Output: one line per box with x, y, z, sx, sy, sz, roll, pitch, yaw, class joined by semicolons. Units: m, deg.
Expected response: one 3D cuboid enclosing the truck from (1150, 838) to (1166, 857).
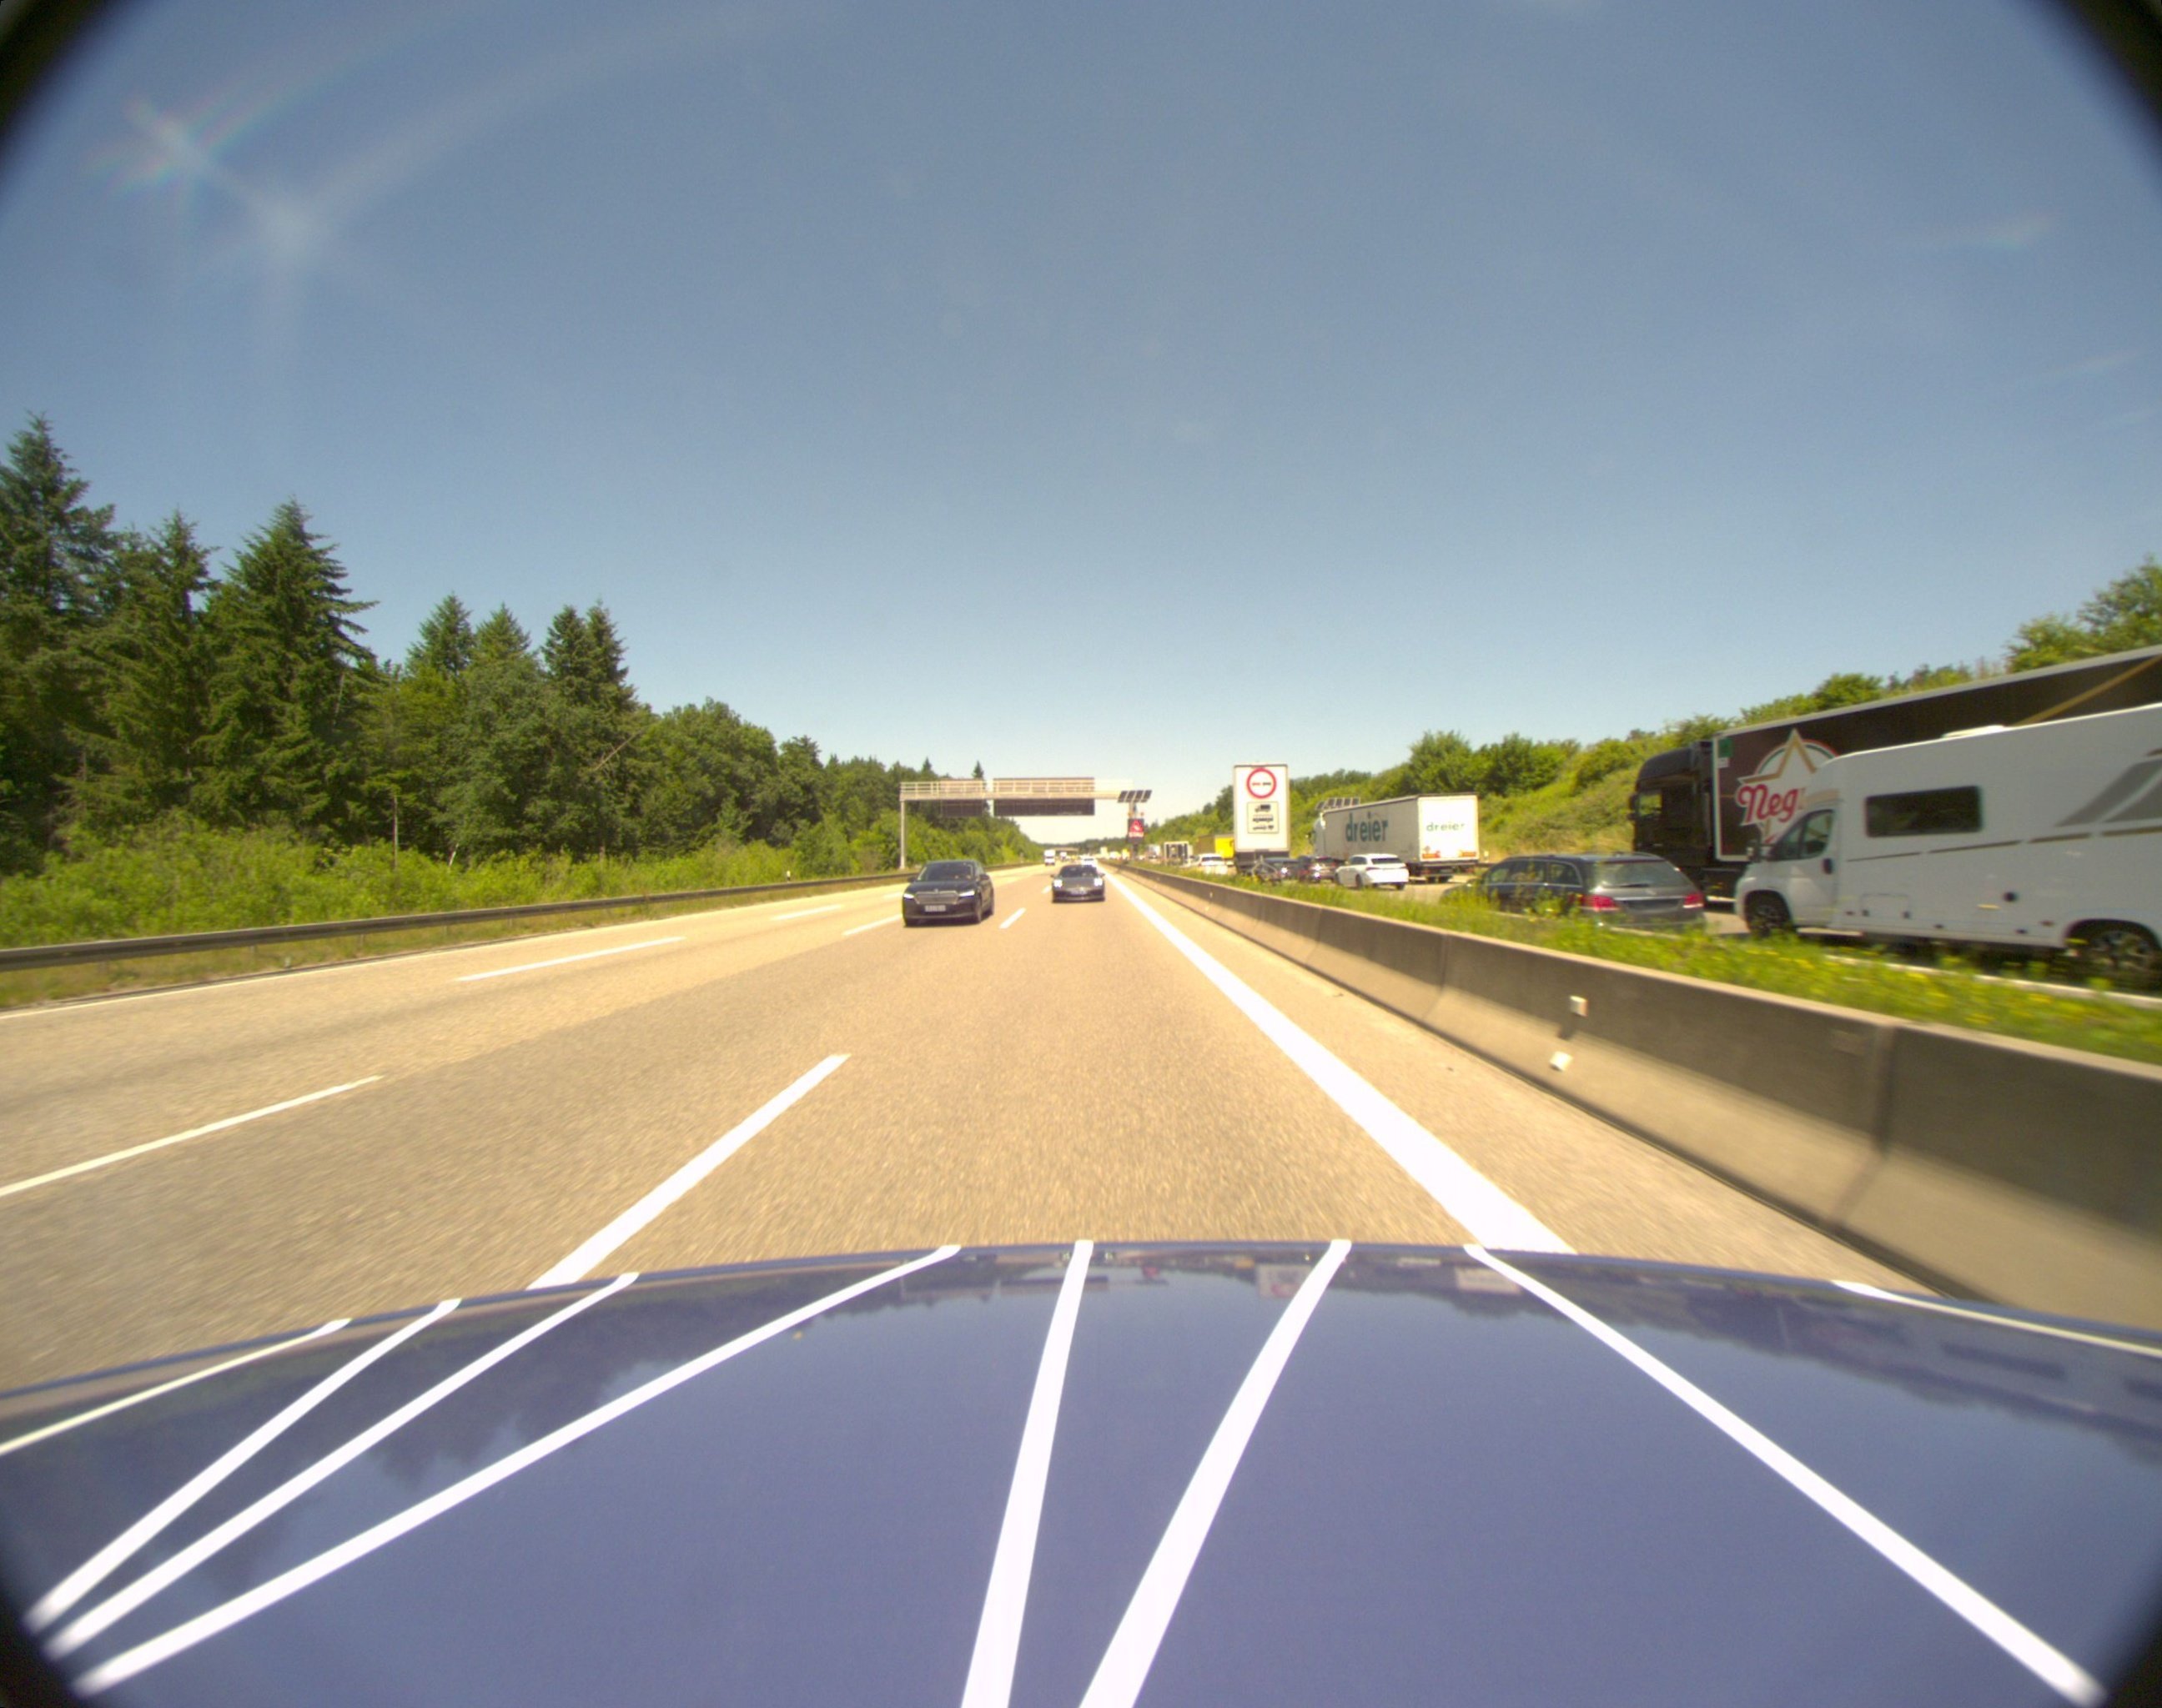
16.900;-1.479;166.857;2.632;3.875;8.954;-2;1;1;truck

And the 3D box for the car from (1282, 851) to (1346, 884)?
11.906;0.630;39.180;1.816;1.528;4.829;-2;0;1;car

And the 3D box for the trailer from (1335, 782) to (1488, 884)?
16.065;-0.931;38.245;2.788;4.280;11.709;-1;1;1;trailer

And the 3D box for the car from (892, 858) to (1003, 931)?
-3.395;1.012;20.213;1.989;1.609;4.459;-3;-1;1;car

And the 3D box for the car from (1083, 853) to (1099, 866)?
1.153;0.666;88.417;1.719;1.432;4.456;-1;1;-1;car

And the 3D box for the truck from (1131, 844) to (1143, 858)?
18.129;-1.025;247.718;3.002;4.516;13.923;-2;0;1;truck

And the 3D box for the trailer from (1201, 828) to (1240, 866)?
16.755;-0.840;92.095;2.657;4.120;11.855;-2;1;1;trailer

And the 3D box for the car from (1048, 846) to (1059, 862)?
-6.042;-0.067;166.627;2.303;3.317;7.621;-2;1;-1;car

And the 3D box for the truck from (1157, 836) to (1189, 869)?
8.281;-0.136;68.916;2.125;2.825;6.212;-2;1;1;truck

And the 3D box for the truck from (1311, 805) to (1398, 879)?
16.257;-0.686;45.701;2.788;4.090;7.029;-1;1;1;truck

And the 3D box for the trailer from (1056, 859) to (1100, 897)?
-0.081;0.953;31.089;1.689;1.399;3.046;-2;0;1;trailer

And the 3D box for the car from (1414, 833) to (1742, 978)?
7.625;0.648;12.561;1.816;1.799;5.543;-2;0;1;car

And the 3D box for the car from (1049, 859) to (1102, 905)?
-0.130;0.952;27.800;1.718;1.432;4.457;-2;1;1;car

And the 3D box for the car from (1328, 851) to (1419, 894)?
11.903;0.691;31.311;1.816;1.534;4.998;-2;0;1;car

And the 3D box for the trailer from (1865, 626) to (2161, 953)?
15.306;-0.863;8.104;2.796;4.216;10.792;-2;1;1;trailer

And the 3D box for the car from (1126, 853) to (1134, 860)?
12.864;0.584;199.384;1.832;1.754;4.990;-2;1;-1;car

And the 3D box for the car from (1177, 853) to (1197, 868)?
12.283;0.713;88.195;1.801;1.565;4.000;-2;1;1;car

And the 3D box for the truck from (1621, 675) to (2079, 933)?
15.458;-0.866;16.328;2.788;4.280;7.029;-1;1;1;truck

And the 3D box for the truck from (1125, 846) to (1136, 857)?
14.061;-0.737;215.287;2.575;2.828;6.752;-2;1;0;truck

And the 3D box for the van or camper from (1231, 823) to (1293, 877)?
12.379;-0.307;52.642;2.535;3.340;7.943;-2;1;2;van or camper

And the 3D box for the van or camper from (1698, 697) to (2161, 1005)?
11.698;-0.087;8.605;2.848;2.931;8.112;-2;1;1;van or camper

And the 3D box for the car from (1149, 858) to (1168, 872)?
9.364;1.297;92.405;1.816;1.504;5.029;-2;0;1;car

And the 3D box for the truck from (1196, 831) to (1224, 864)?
16.865;-0.864;99.841;2.608;4.041;6.133;-2;1;1;truck

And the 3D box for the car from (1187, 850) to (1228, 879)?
7.964;0.633;48.180;1.816;1.624;5.029;-2;0;1;car

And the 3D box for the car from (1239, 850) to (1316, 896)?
7.818;0.676;30.680;1.816;1.624;5.029;-2;0;1;car
